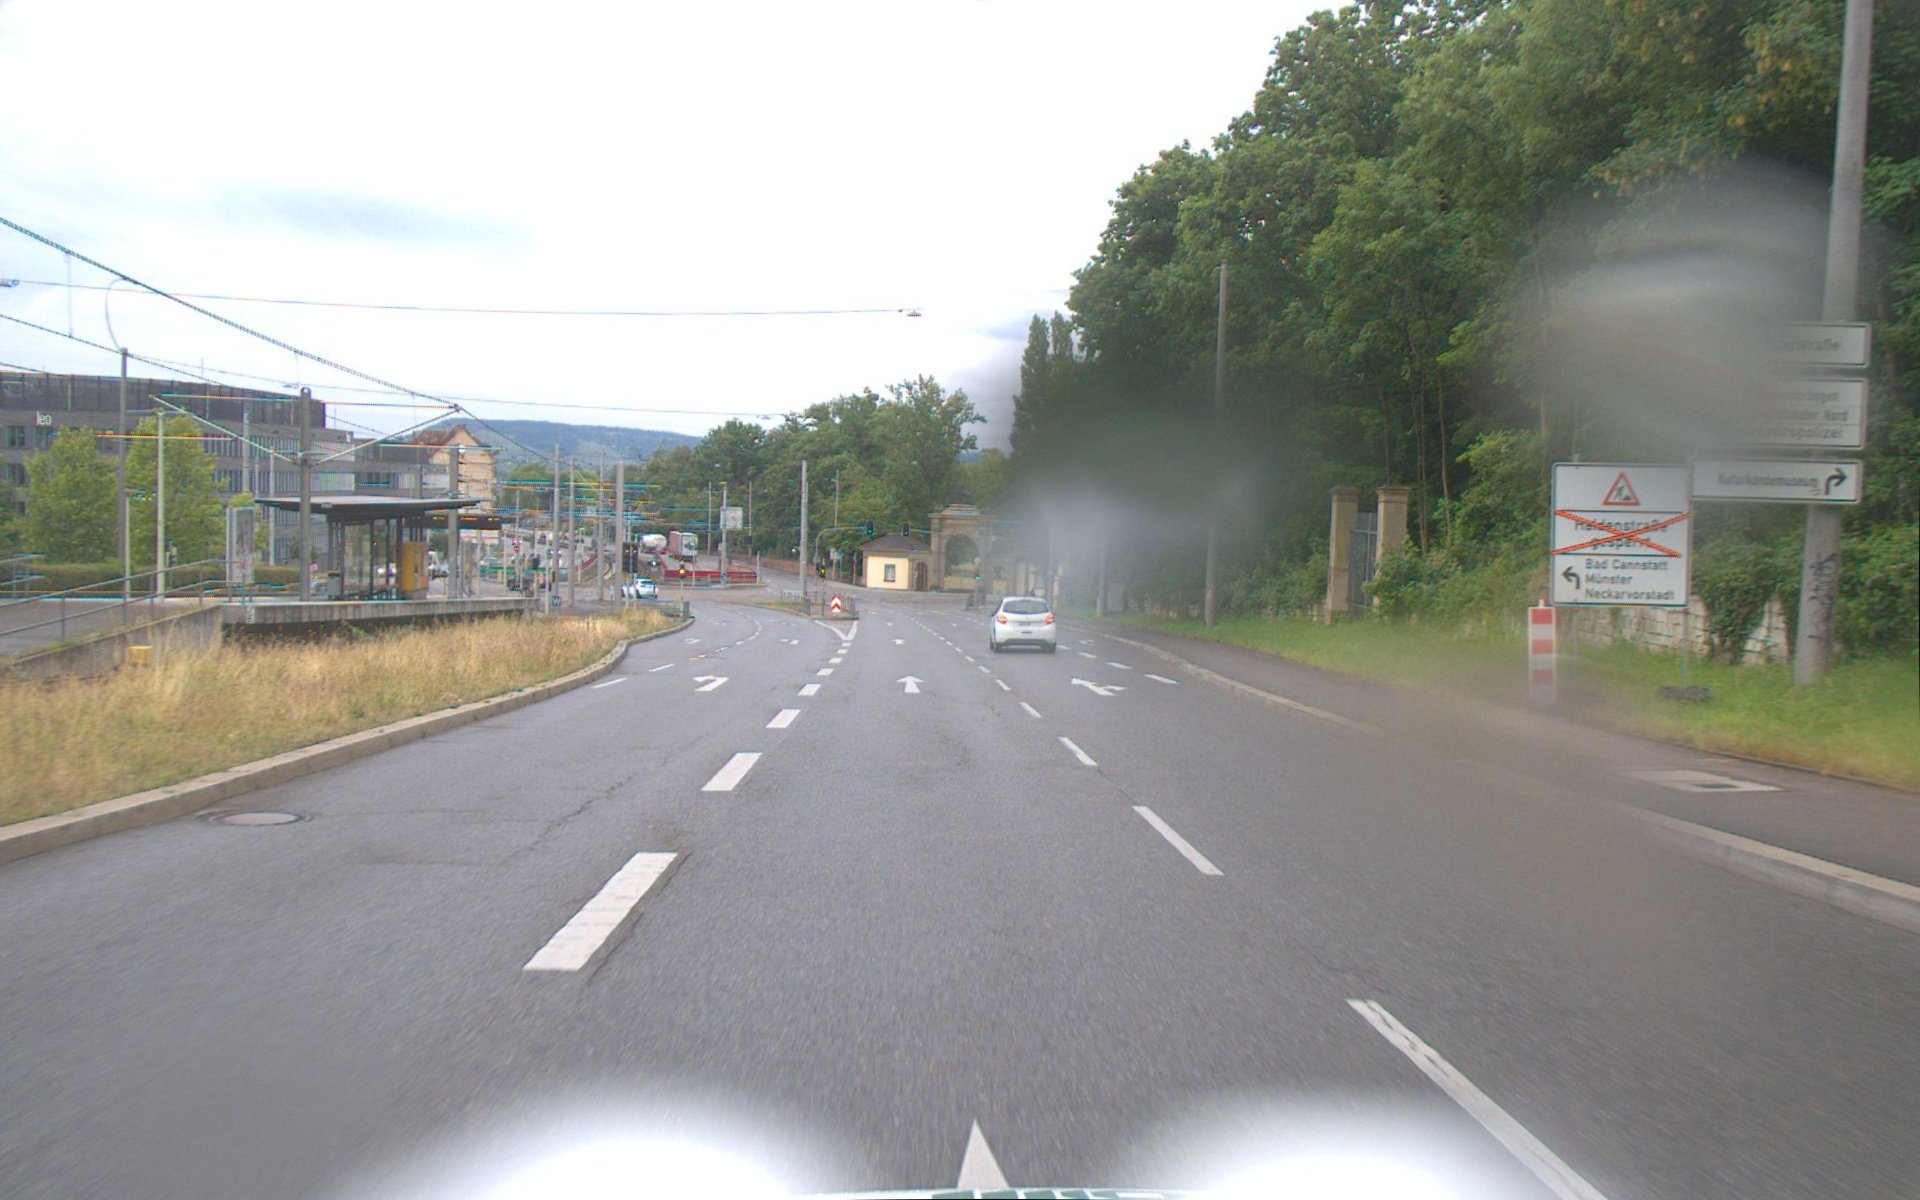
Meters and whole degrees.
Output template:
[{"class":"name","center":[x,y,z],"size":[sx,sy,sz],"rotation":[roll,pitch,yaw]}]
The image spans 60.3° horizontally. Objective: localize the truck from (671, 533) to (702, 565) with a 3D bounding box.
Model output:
[{"class":"truck","center":[-42.304,-7.858,255.296],"size":[3.358,4.649,11.242],"rotation":[4,0,-15]}]

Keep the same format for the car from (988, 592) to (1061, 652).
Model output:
[{"class":"car","center":[1.724,0.574,45.226],"size":[1.830,1.537,3.899],"rotation":[0,0,0]}]

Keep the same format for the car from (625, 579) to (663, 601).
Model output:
[{"class":"car","center":[-24.661,-0.790,129.004],"size":[1.802,1.634,3.962],"rotation":[1,1,-29]}]
